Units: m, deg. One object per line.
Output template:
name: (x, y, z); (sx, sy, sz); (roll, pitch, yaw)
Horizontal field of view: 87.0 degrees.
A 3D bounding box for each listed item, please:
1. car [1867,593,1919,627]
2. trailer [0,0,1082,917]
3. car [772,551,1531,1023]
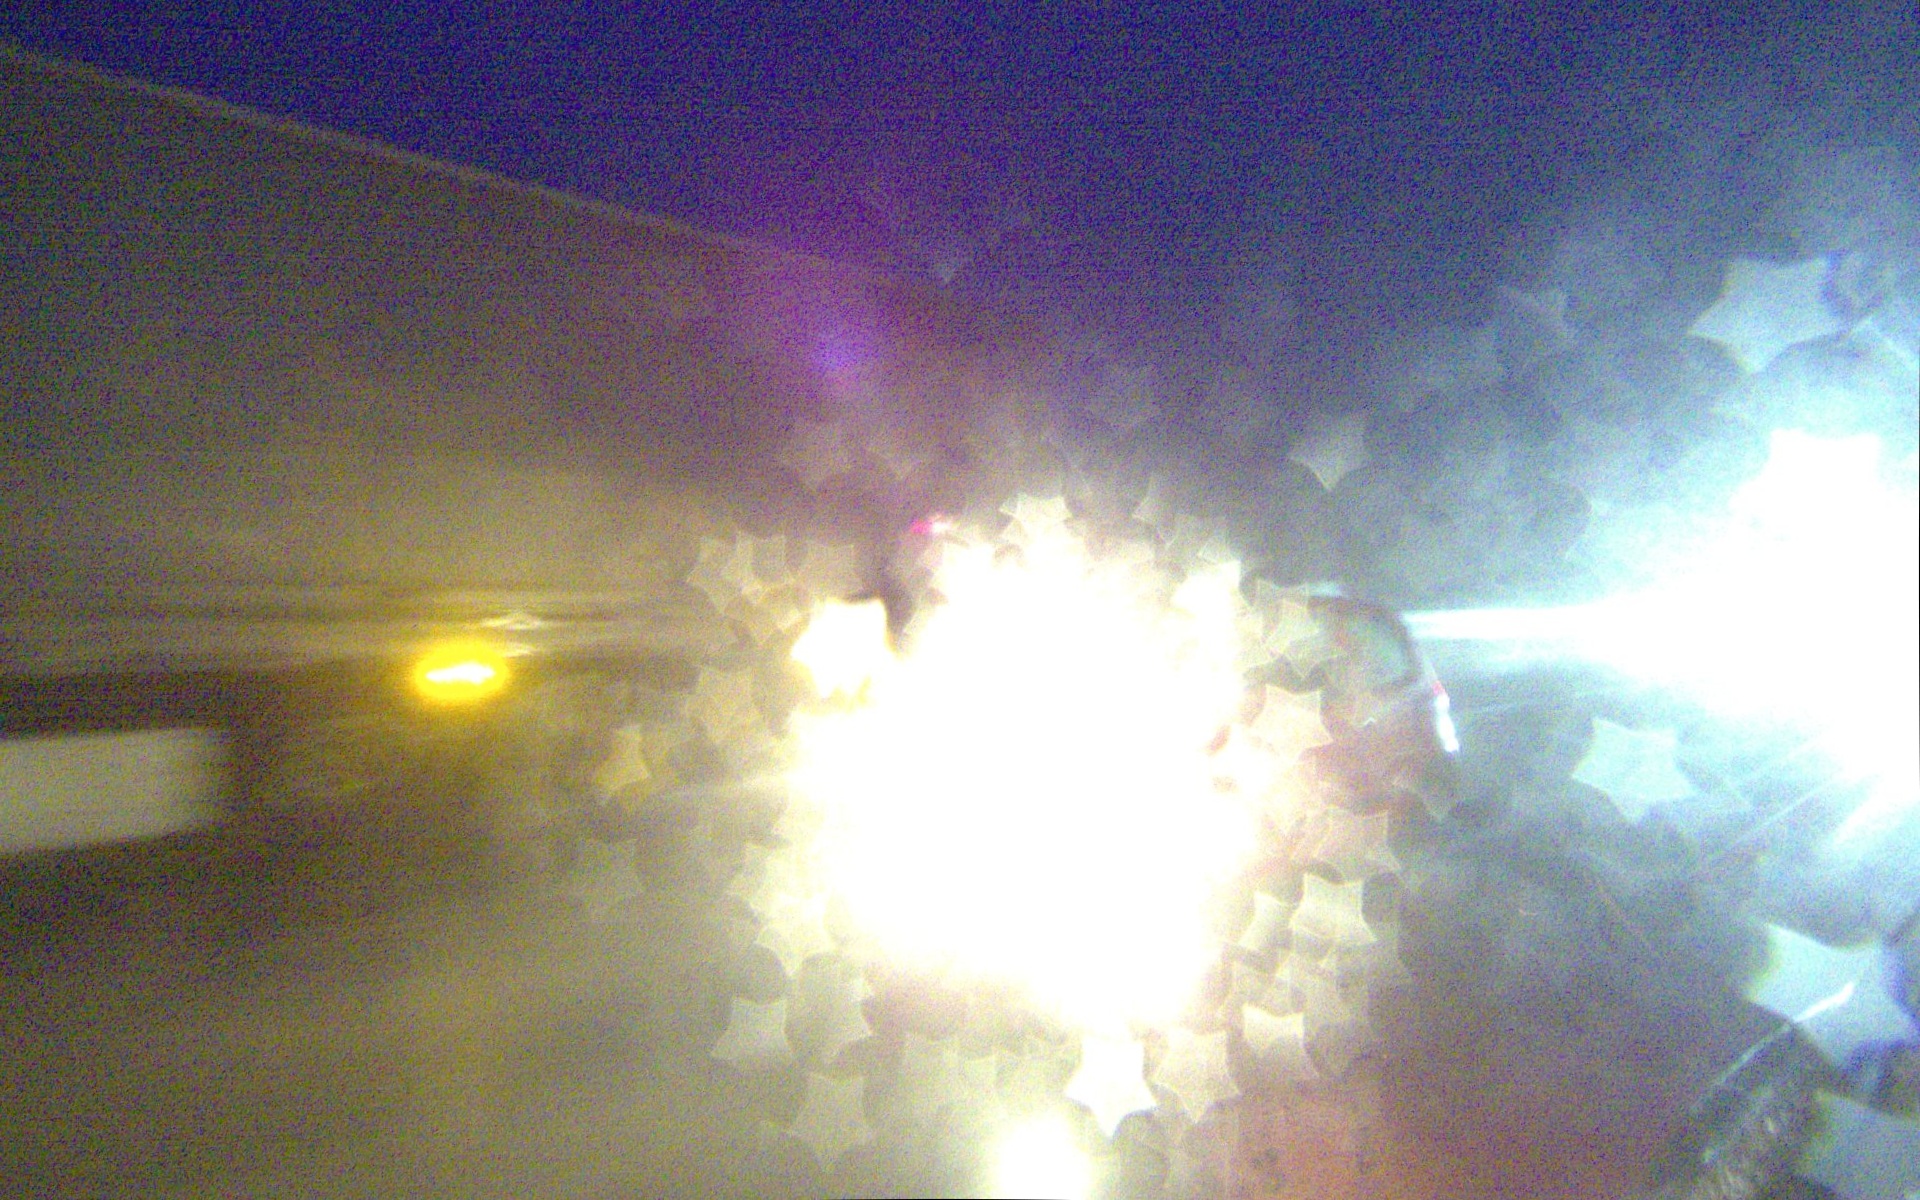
car: (44.959, 0.465, 48.721); (3.946, 1.522, 1.641); (1, 1, -44)
trailer: (-5.228, -0.728, 5.515); (14.236, 4.159, 2.909); (0, 2, -42)
car: (1.345, 0.596, 5.537); (4.416, 1.595, 1.743); (-1, 1, -41)
